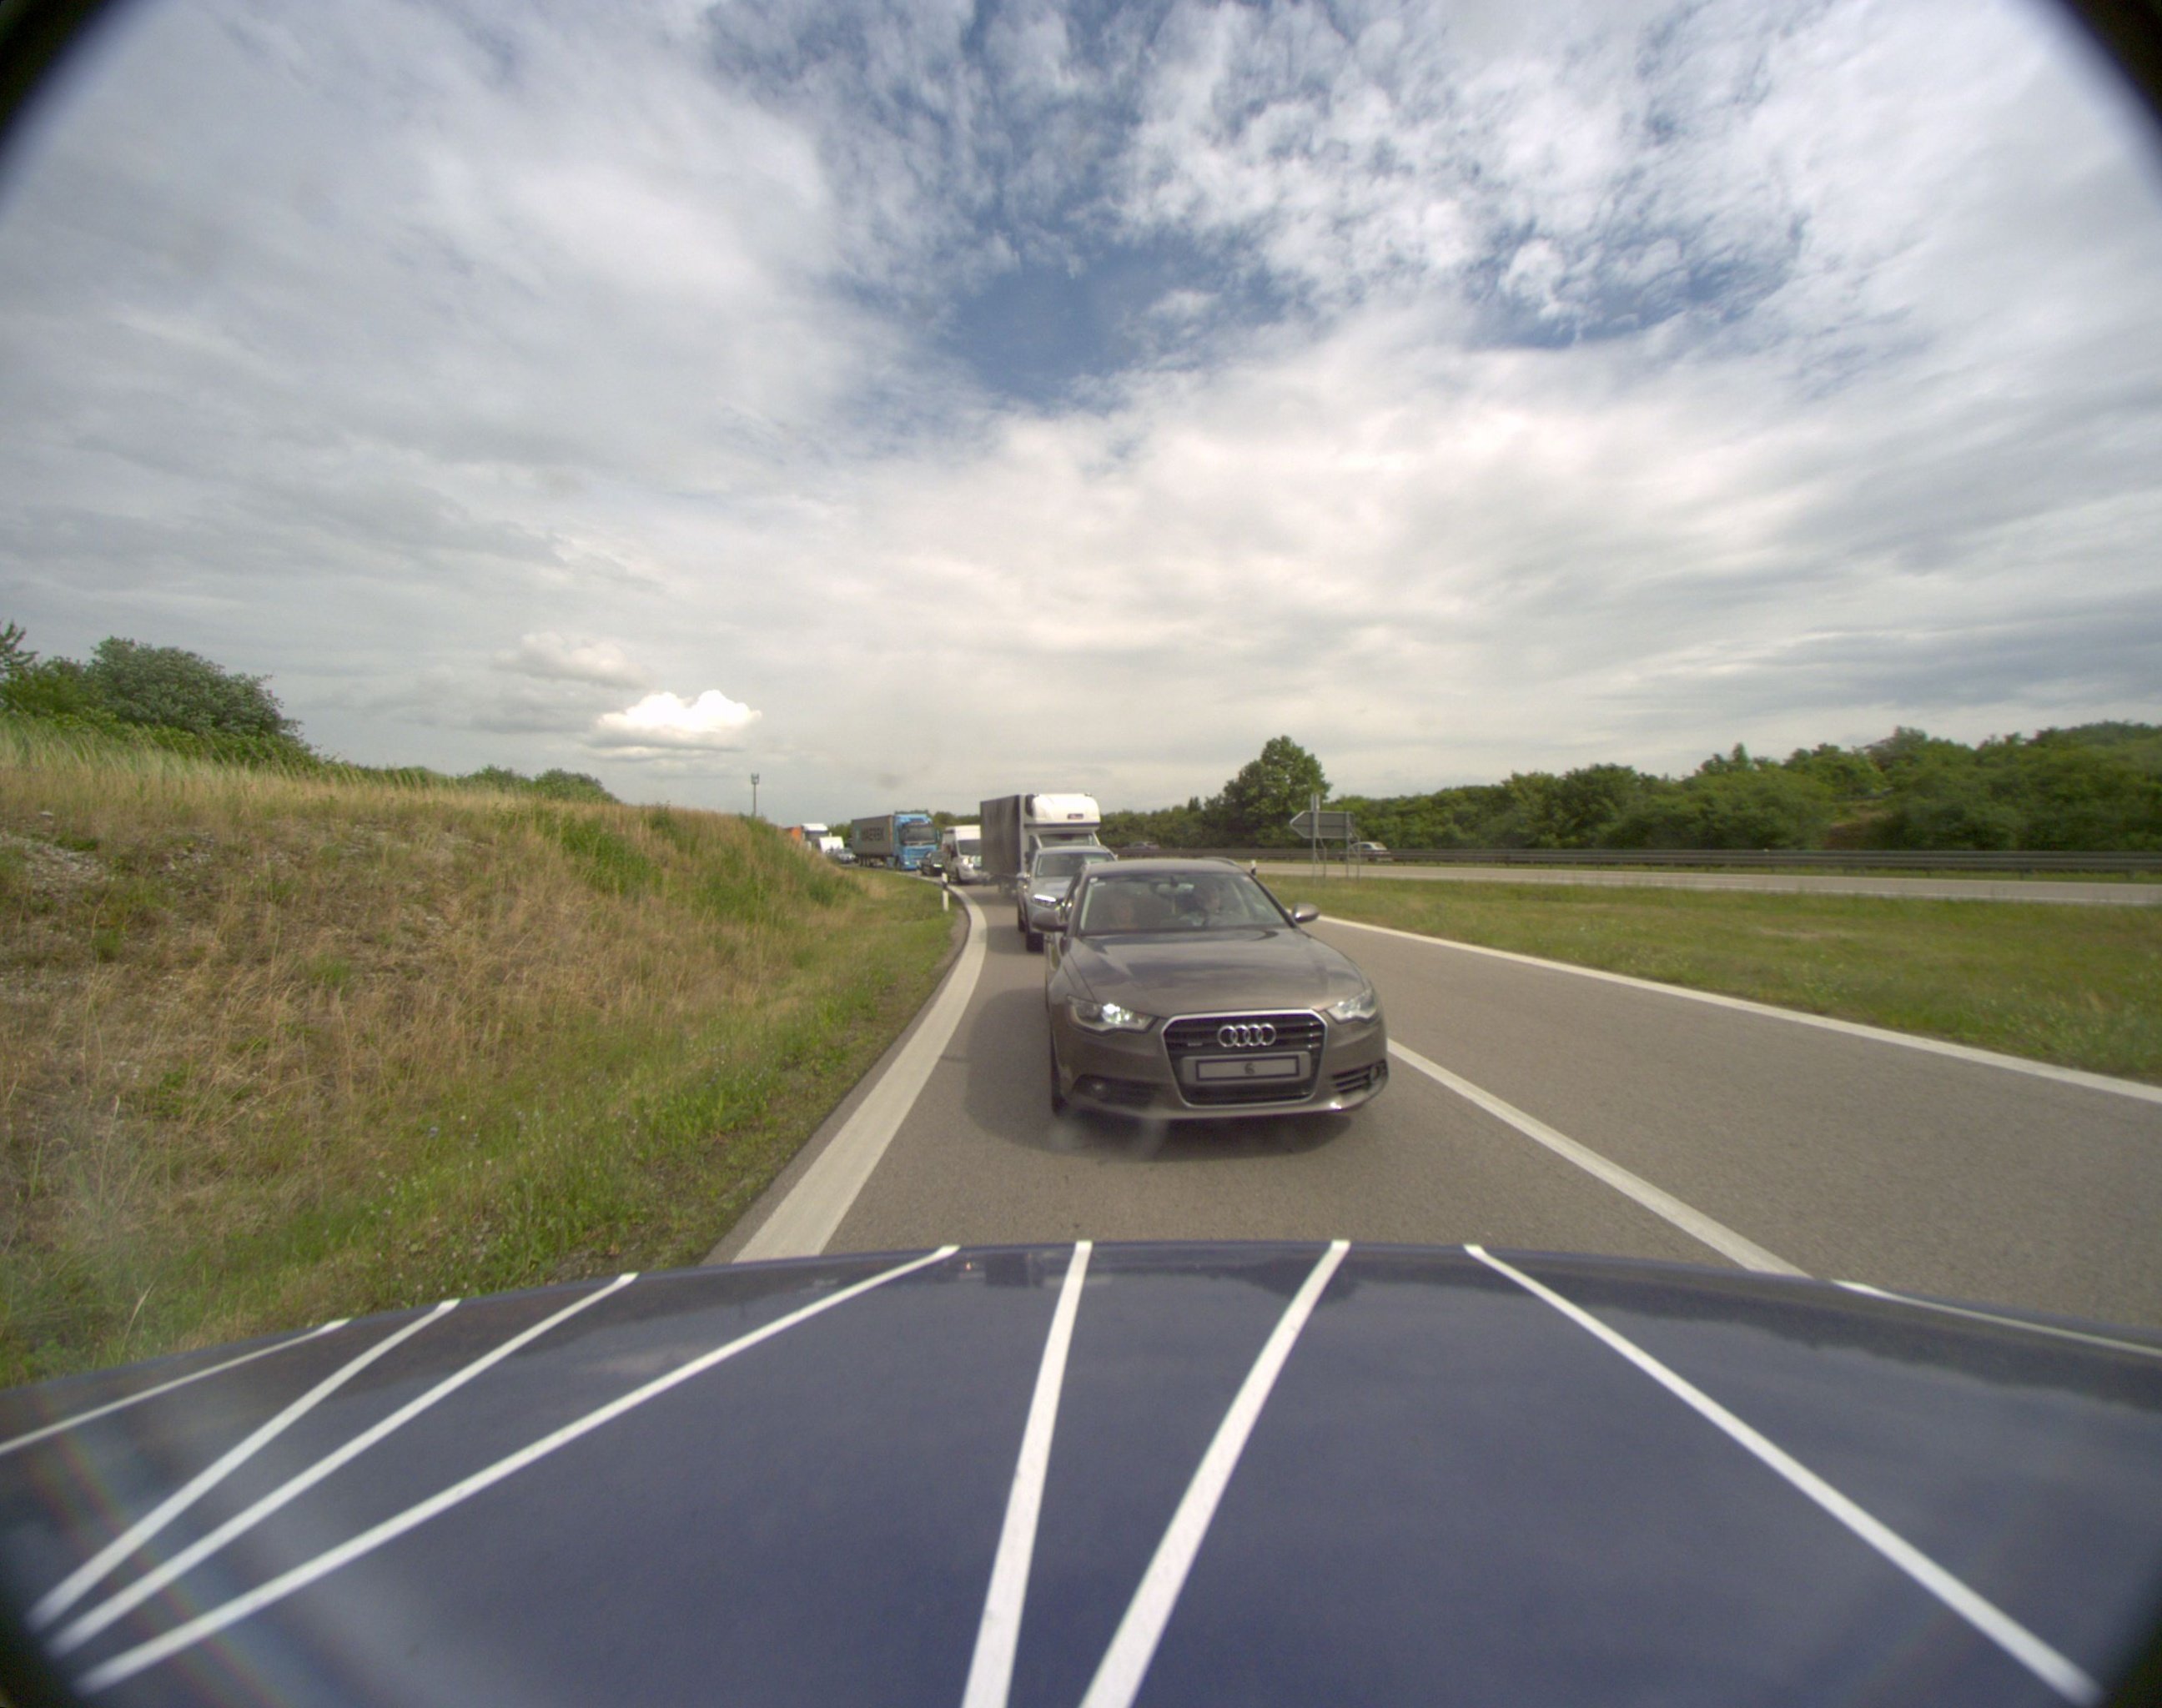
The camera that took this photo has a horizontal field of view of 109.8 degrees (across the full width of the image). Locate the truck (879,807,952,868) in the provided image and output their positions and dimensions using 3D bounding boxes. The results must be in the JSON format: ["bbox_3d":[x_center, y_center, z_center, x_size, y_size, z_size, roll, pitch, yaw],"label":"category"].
[{"bbox_3d":[-11.960,-1.114,54.518,3.184,4.049,6.631,-3,1,-29],"label":"truck"}]

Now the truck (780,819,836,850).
[{"bbox_3d":[-30.619,-2.060,84.912,3.131,3.220,11.131,-2,1,-34],"label":"truck"}]

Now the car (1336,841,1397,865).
[{"bbox_3d":[18.919,-0.092,50.428,1.543,1.500,3.513,-2,2,-35],"label":"car"}]

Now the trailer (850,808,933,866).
[{"bbox_3d":[-15.444,-1.215,60.913,3.280,4.137,11.989,-3,1,-29],"label":"trailer"}]

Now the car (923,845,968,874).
[{"bbox_3d":[-8.042,0.272,44.843,2.002,1.609,3.992,-1,1,-19],"label":"car"}]

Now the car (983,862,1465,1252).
[{"bbox_3d":[0.591,0.878,5.476,1.999,1.505,4.537,-2,1,-1],"label":"car"}]

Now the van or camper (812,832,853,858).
[{"bbox_3d":[-24.712,-0.944,75.292,2.557,2.200,5.693,-3,5,-31],"label":"van or camper"}]

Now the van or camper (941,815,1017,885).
[{"bbox_3d":[-4.858,-0.184,35.389,2.401,2.892,5.711,-3,1,-18],"label":"van or camper"}]

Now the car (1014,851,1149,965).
[{"bbox_3d":[-0.165,0.778,13.147,1.843,1.587,4.170,-1,1,-7],"label":"car"}]

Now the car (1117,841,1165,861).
[{"bbox_3d":[5.486,-0.289,70.313,1.719,1.783,4.966,-1,2,-33],"label":"car"}]

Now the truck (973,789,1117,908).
[{"bbox_3d":[-1.438,-0.171,24.247,2.570,3.149,7.456,-3,1,-18],"label":"truck"}]

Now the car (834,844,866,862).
[{"bbox_3d":[-21.281,-0.128,69.971,2.003,1.521,3.990,-2,2,-29],"label":"car"}]

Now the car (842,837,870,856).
[{"bbox_3d":[-28.340,-0.937,95.591,2.003,2.246,4.795,-2,2,-34],"label":"car"}]
